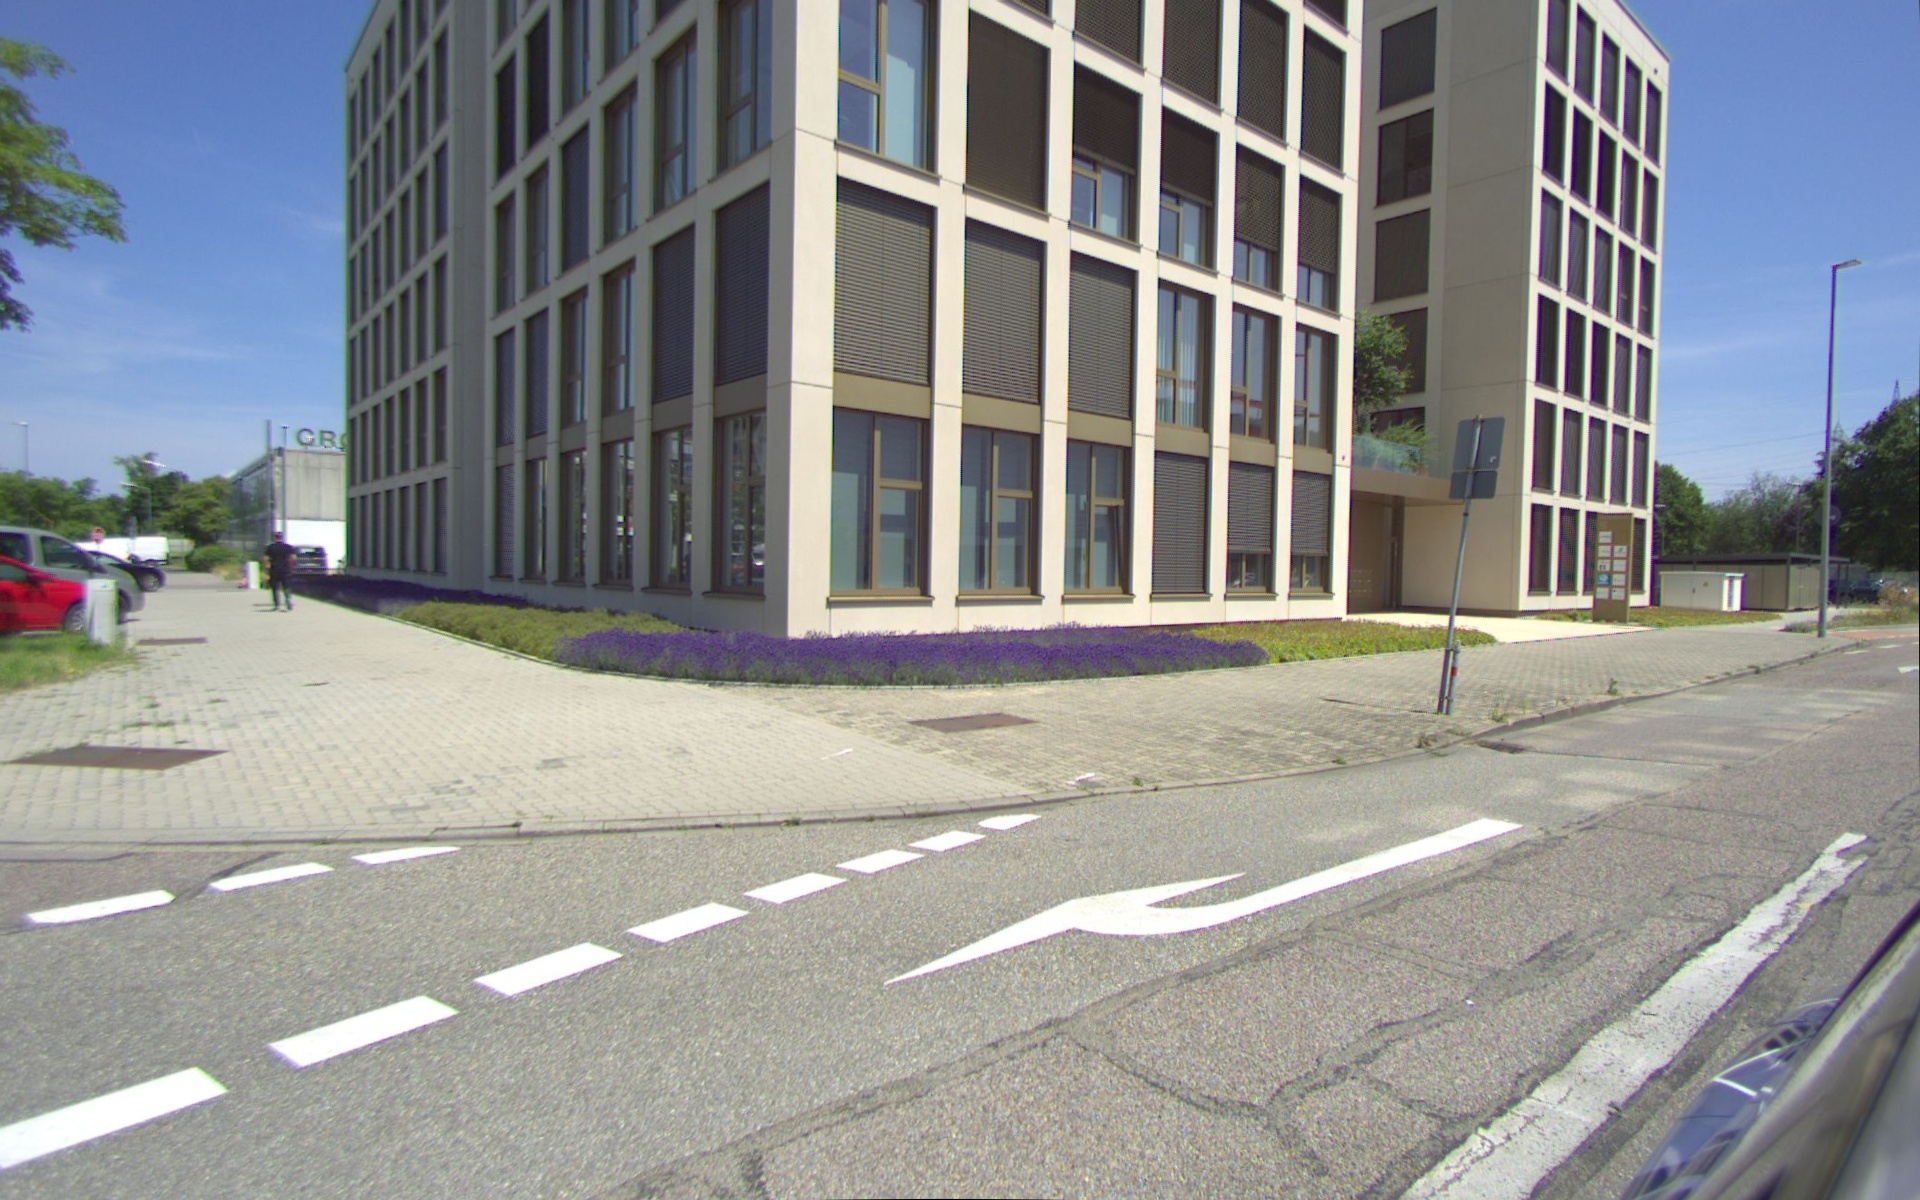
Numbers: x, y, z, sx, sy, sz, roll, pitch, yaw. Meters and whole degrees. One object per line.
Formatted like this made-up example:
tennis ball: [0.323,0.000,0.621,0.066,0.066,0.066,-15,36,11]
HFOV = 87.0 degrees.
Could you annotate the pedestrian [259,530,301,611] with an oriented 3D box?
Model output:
pedestrian: [-15.919,-0.699,23.715,0.758,1.867,0.869,-1,3,-32]

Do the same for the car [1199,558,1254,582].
car: [21.054,-2.360,79.950,3.921,1.874,2.002,0,2,-31]

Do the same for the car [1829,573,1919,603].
car: [55.662,-0.727,61.470,3.960,1.682,1.822,2,3,26]

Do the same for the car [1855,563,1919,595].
car: [59.213,-1.309,63.556,3.958,1.977,1.984,2,2,25]

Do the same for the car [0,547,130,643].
car: [-15.380,-0.083,15.579,1.584,1.452,3.991,1,2,9]

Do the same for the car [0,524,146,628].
car: [-17.771,-0.455,18.377,1.676,1.838,4.899,1,2,7]

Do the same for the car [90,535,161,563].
car: [-67.485,-4.113,81.932,4.280,2.146,2.094,0,2,-37]

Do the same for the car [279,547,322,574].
car: [-37.987,-2.286,58.265,1.758,1.540,3.574,-1,3,-39]

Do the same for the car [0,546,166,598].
car: [-29.078,-0.973,33.467,1.792,1.557,4.131,0,3,19]

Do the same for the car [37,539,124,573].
car: [-54.959,-2.722,63.340,3.925,2.038,2.000,0,2,-36]
